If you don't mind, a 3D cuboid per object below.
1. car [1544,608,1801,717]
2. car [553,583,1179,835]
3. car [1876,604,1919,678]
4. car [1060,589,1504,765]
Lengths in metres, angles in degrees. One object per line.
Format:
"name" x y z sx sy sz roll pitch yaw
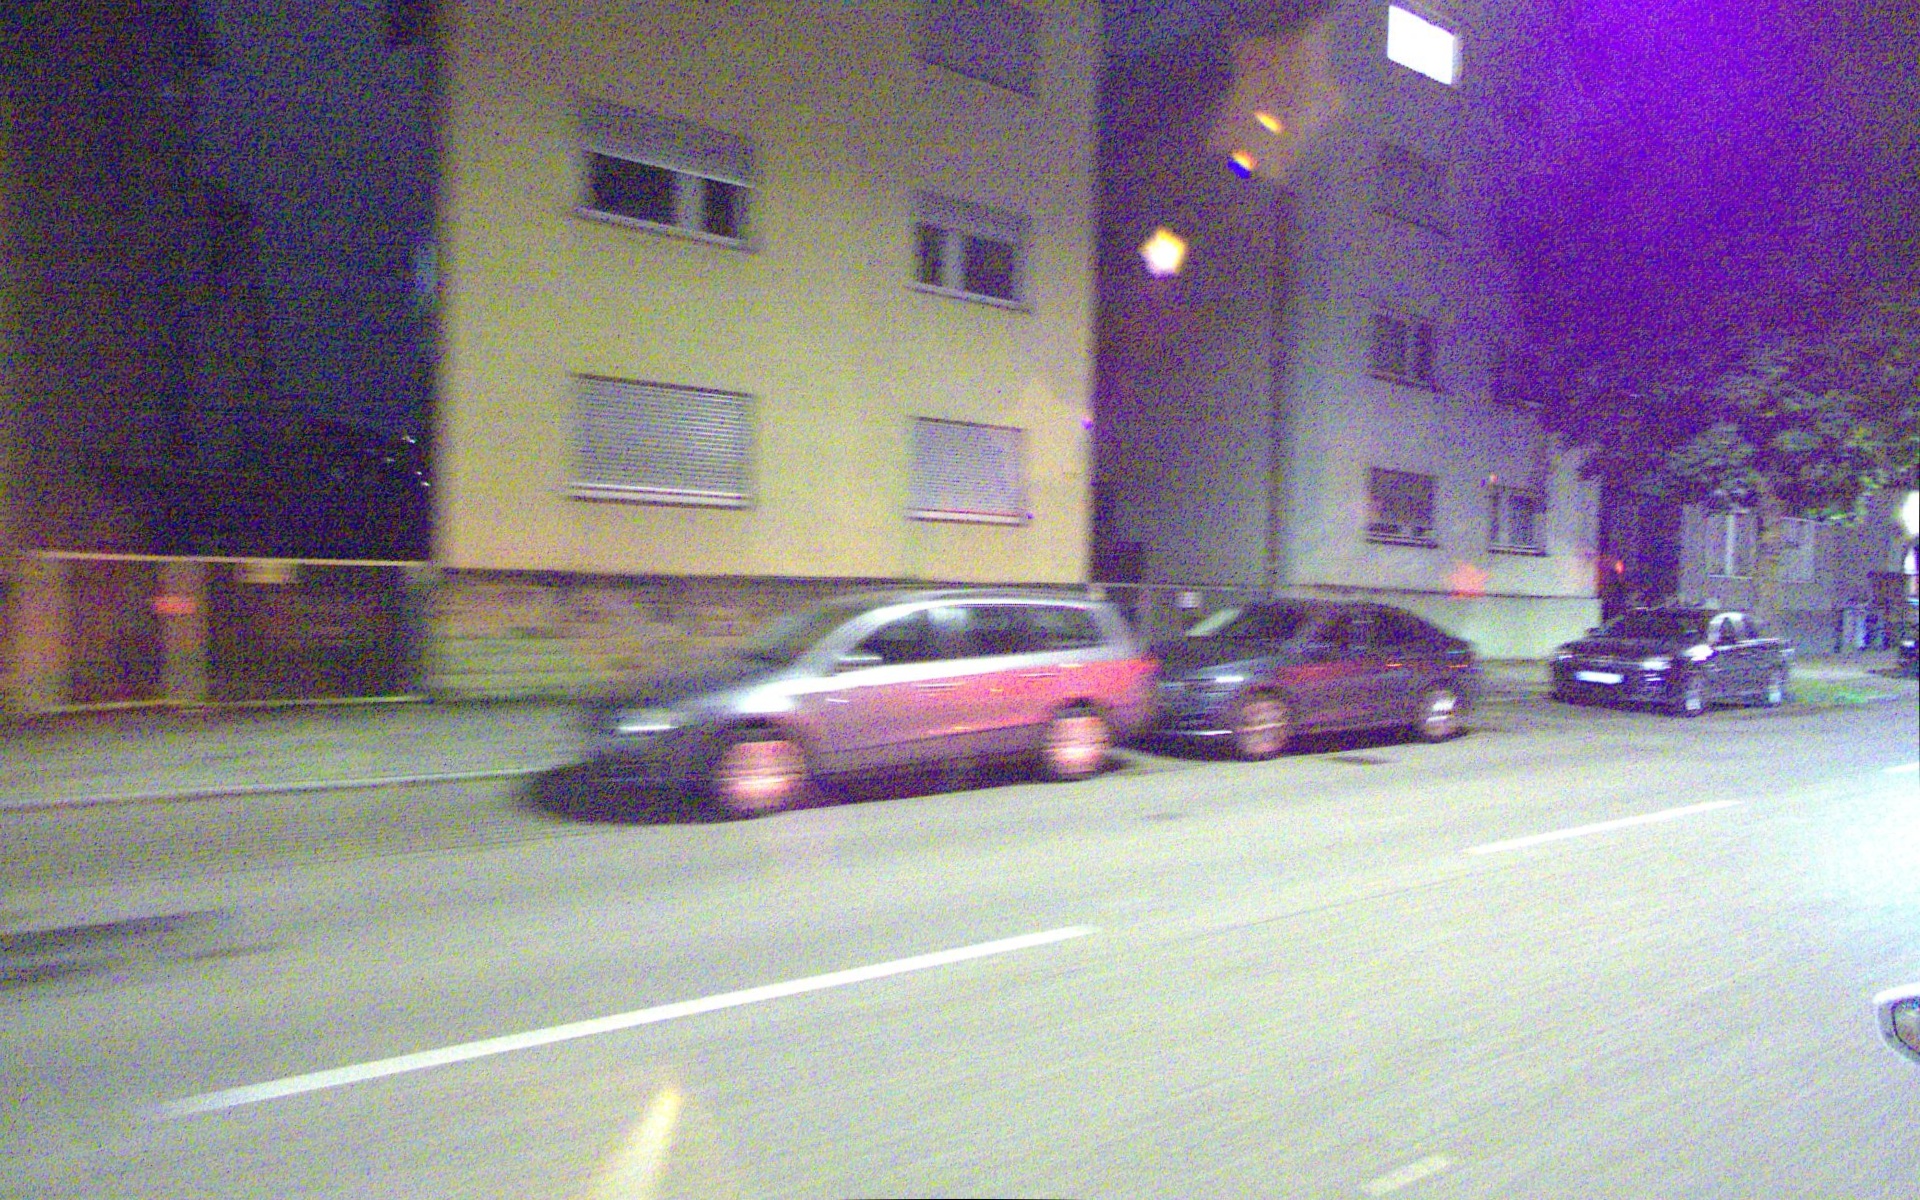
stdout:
"car" 10.596 0.830 14.842 4.404 1.401 1.613 1 0 -33
"car" -0.591 0.674 8.019 4.715 1.505 1.758 1 0 -32
"car" 21.761 0.867 21.521 4.399 1.491 1.890 0 2 -30
"car" 3.509 0.687 10.601 4.808 1.505 1.759 1 0 -31
